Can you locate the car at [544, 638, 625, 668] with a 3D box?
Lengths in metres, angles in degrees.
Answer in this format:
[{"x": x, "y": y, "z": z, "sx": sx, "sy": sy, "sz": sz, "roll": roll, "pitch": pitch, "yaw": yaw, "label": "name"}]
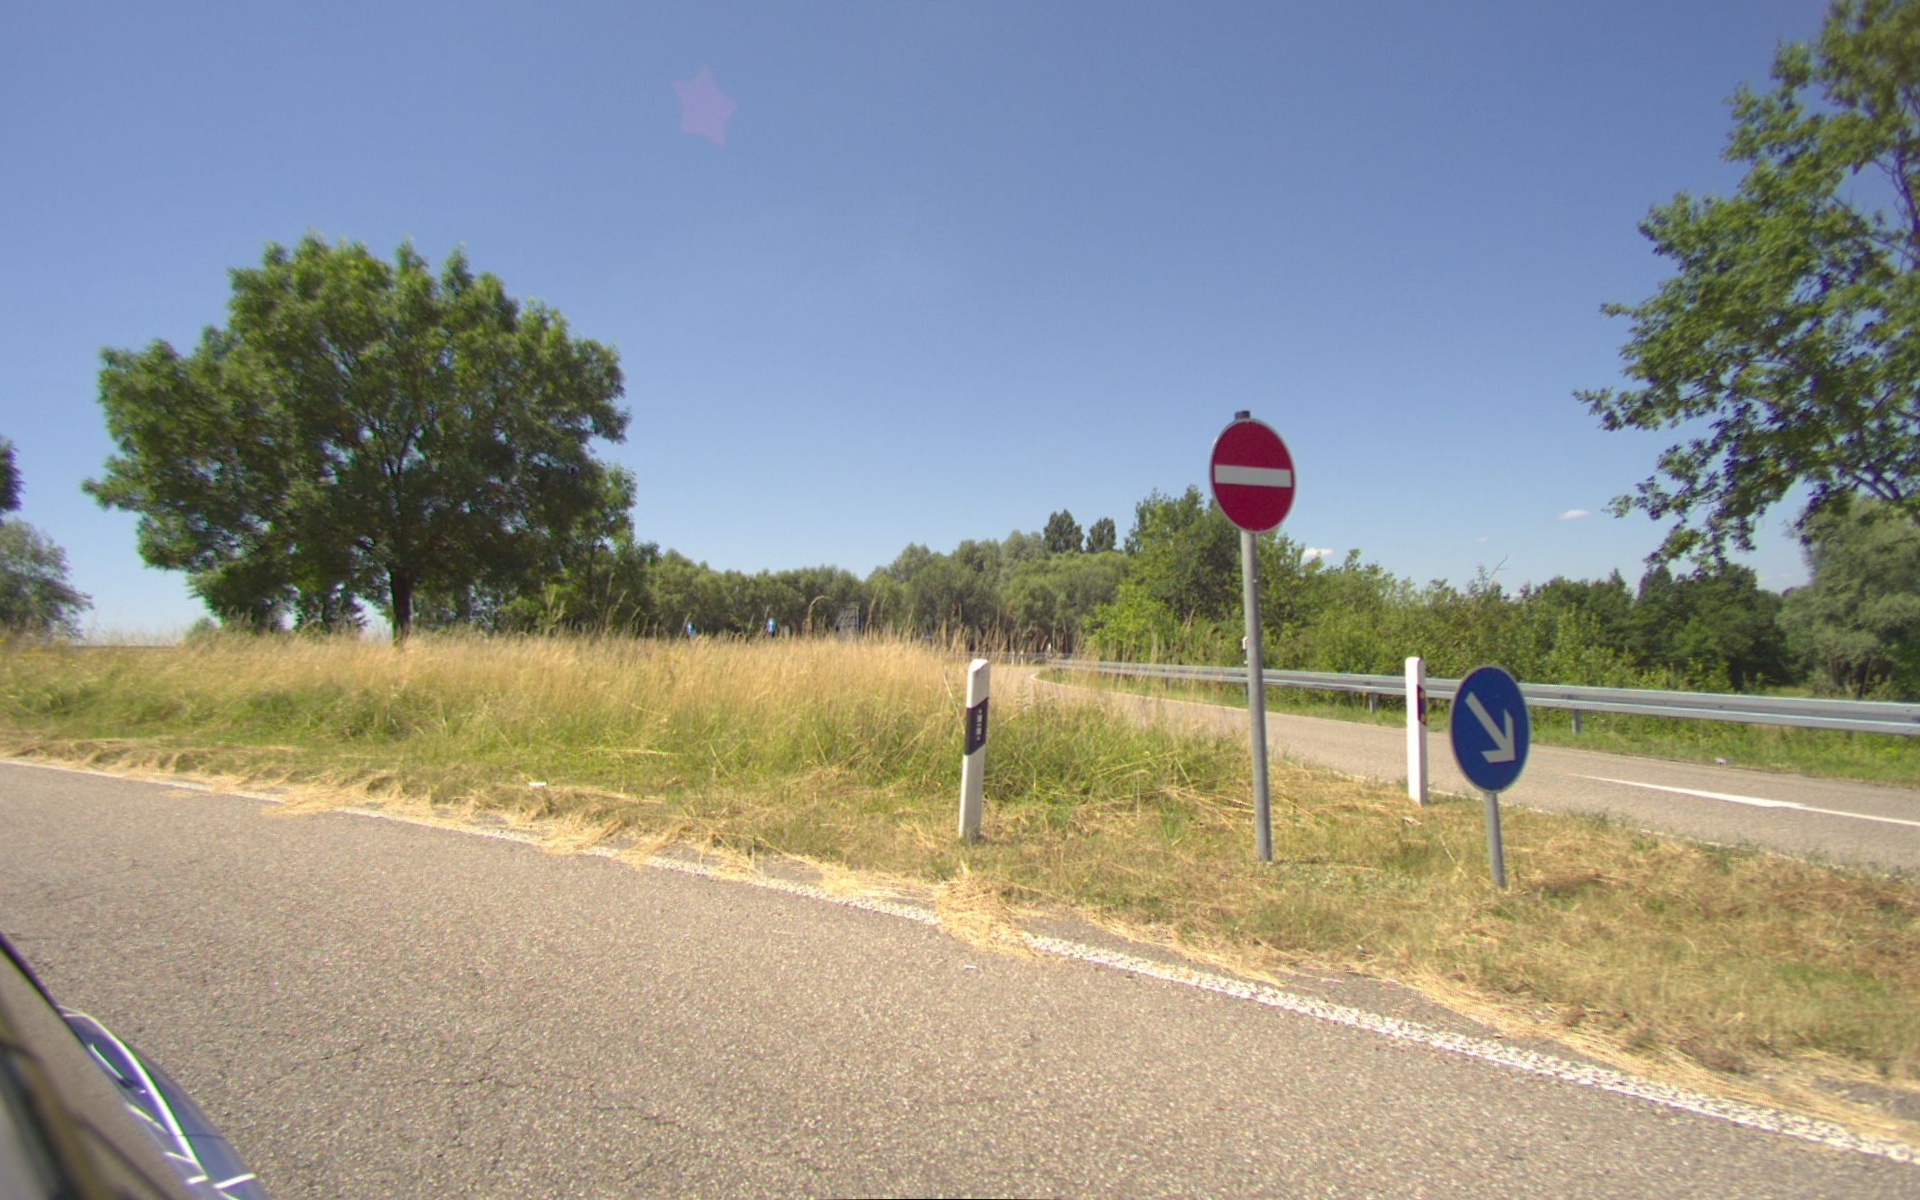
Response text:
[{"x": -21.348, "y": 2.970, "z": 57.599, "sx": 1.832, "sy": 1.623, "sz": 3.942, "roll": -1, "pitch": -2, "yaw": 44, "label": "car"}]
